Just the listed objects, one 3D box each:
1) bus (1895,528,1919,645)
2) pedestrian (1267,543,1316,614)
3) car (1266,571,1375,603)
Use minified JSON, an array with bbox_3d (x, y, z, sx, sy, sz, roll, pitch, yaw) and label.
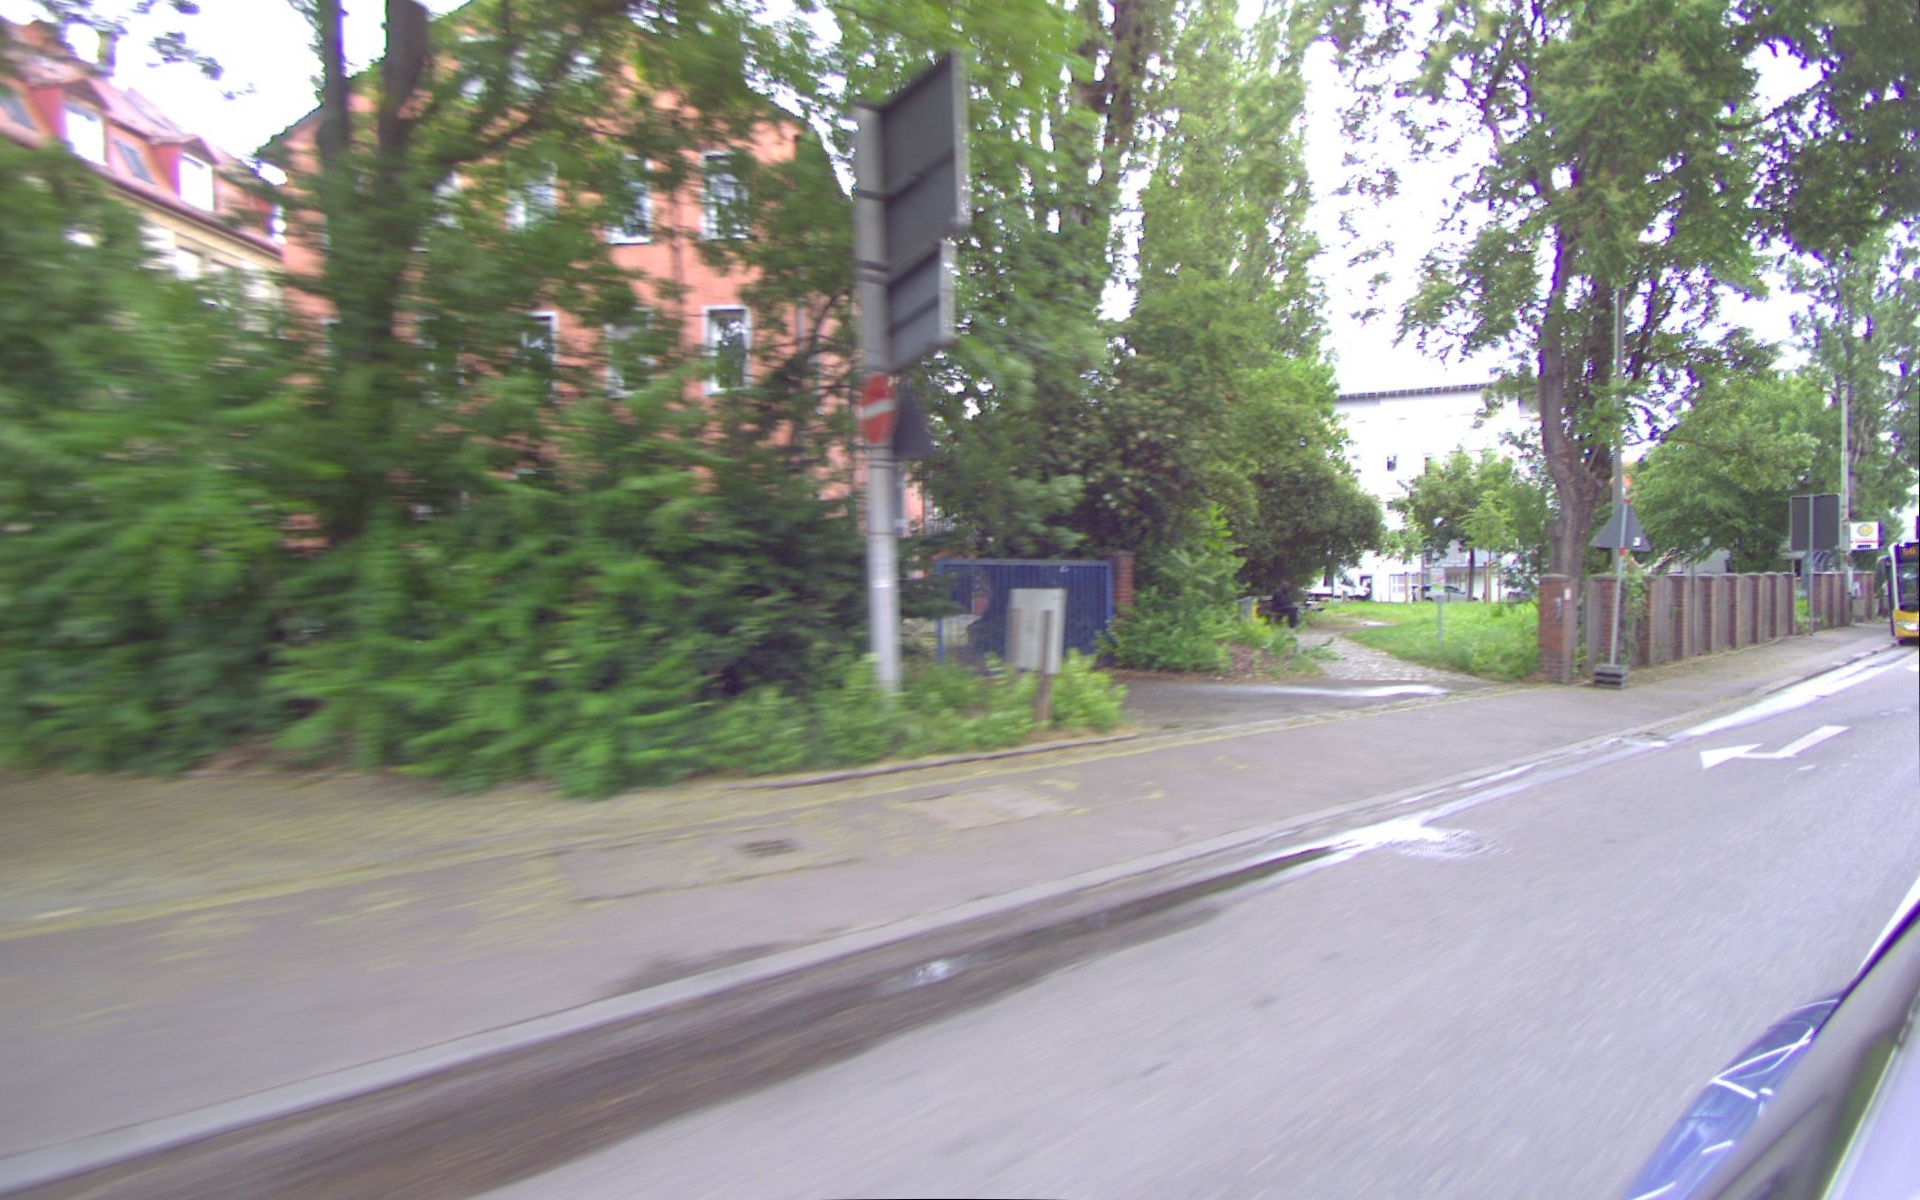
[{"bbox_3d":[30.148,-0.471,29.843,9.056,3.179,2.675,-1,-2,-41],"label":"bus"},{"bbox_3d":[9.859,-0.648,30.089,1.126,2.038,1.238,1,2,33],"label":"pedestrian"},{"bbox_3d":[19.748,-0.721,55.482,5.503,1.608,1.983,0,3,26],"label":"car"}]
